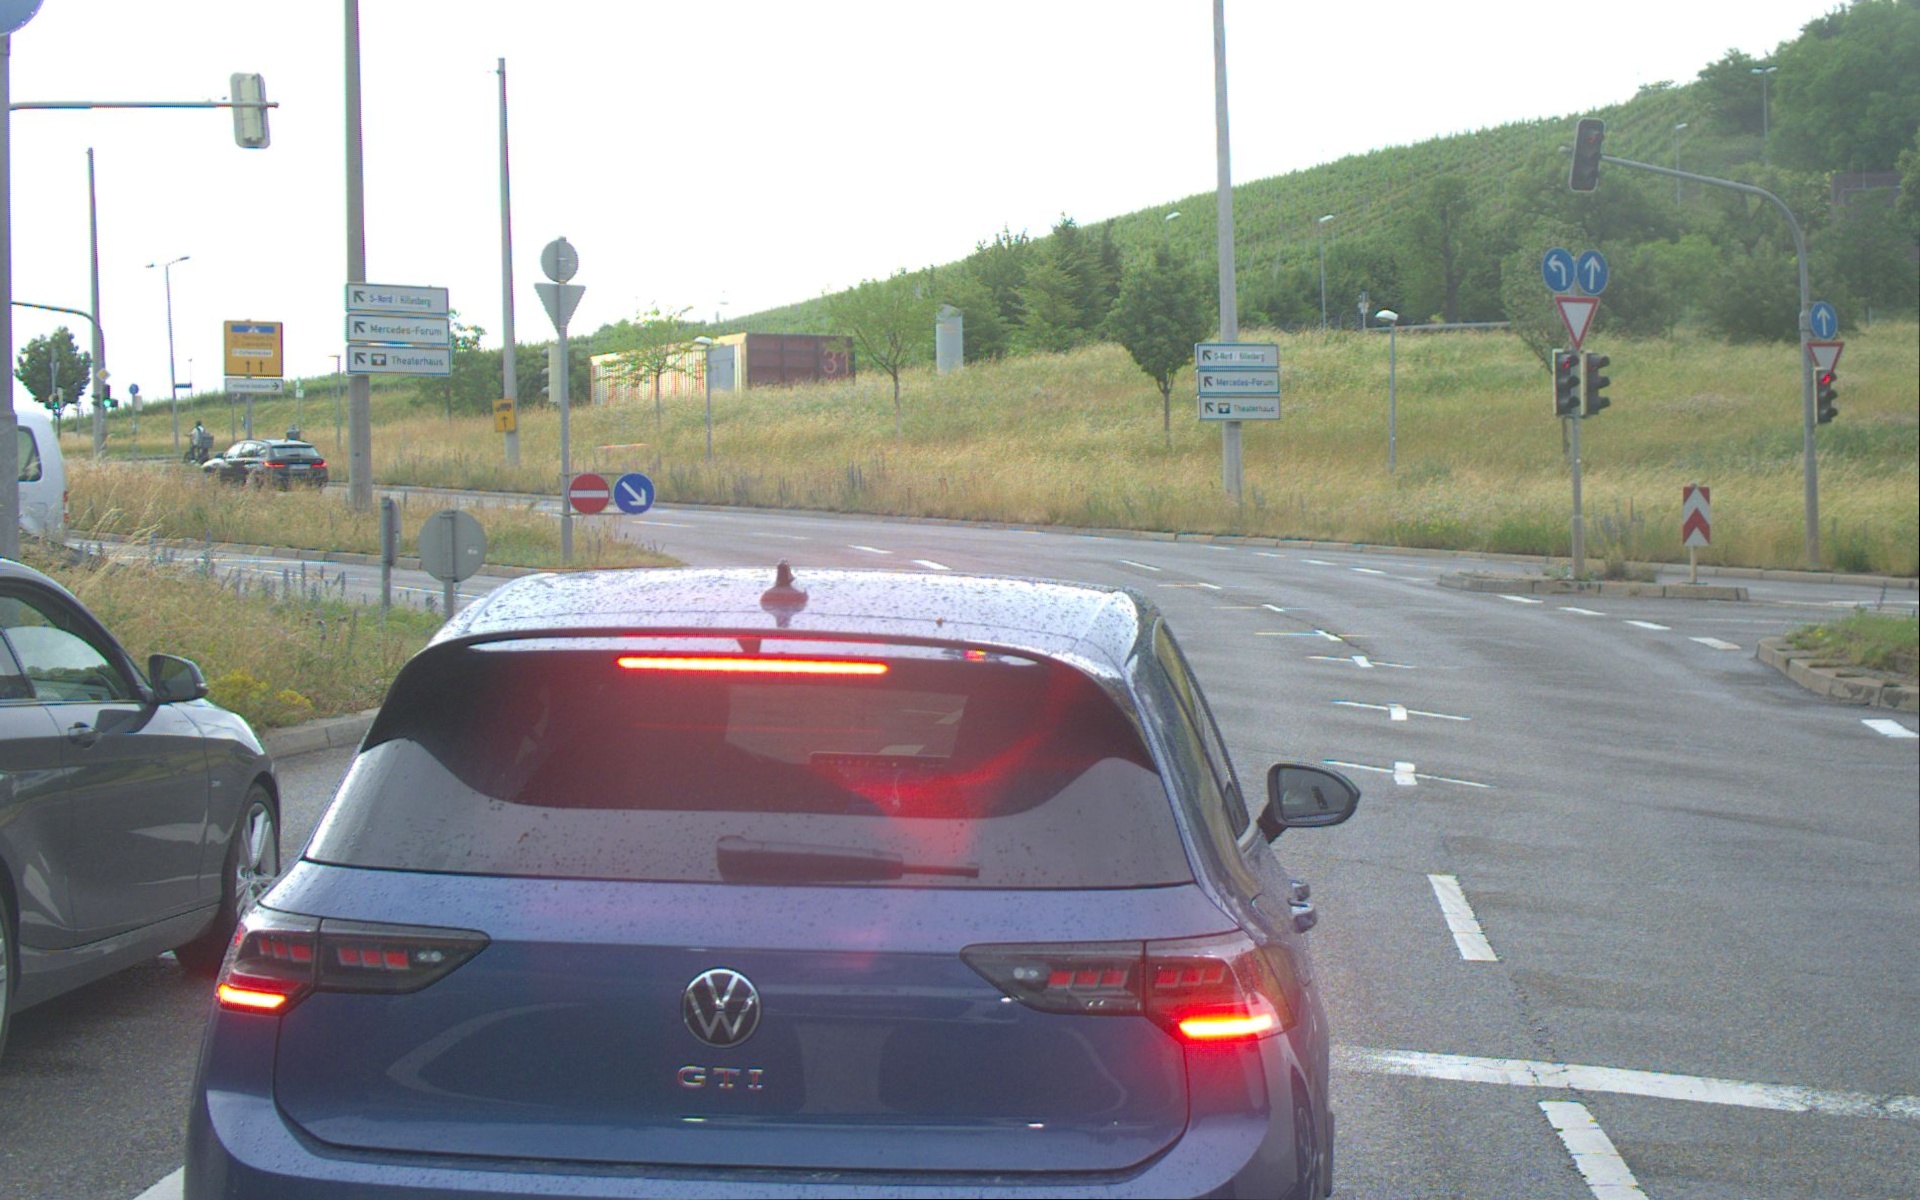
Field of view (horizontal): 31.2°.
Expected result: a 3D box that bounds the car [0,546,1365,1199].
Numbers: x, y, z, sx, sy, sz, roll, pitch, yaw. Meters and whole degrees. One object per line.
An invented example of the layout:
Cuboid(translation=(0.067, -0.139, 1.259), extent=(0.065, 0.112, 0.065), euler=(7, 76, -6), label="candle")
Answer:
Cuboid(translation=(-0.228, 0.634, 6.458), extent=(1.825, 1.455, 3.808), euler=(1, 1, 5), label="car")

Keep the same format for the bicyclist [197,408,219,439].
Cuboid(translation=(-26.837, -6.293, 122.640), extent=(0.523, 1.043, 0.580), euler=(3, 1, -35), label="bicyclist")

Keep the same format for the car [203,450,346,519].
Cuboid(translation=(-17.096, -2.883, 85.525), extent=(1.993, 1.612, 4.852), euler=(1, 2, -30), label="car")

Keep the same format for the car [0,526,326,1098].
Cuboid(translation=(-3.210, 0.520, 9.821), extent=(1.703, 1.454, 4.114), euler=(0, 1, 5), label="car")

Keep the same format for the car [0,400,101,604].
Cuboid(translation=(-10.307, -0.913, 30.975), extent=(4.685, 1.844, 1.821), euler=(1, 0, -44), label="car")

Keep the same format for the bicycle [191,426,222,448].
Cuboid(translation=(-26.873, -5.823, 122.616), extent=(0.518, 0.772, 1.621), euler=(1, 2, -33), label="bicycle")
